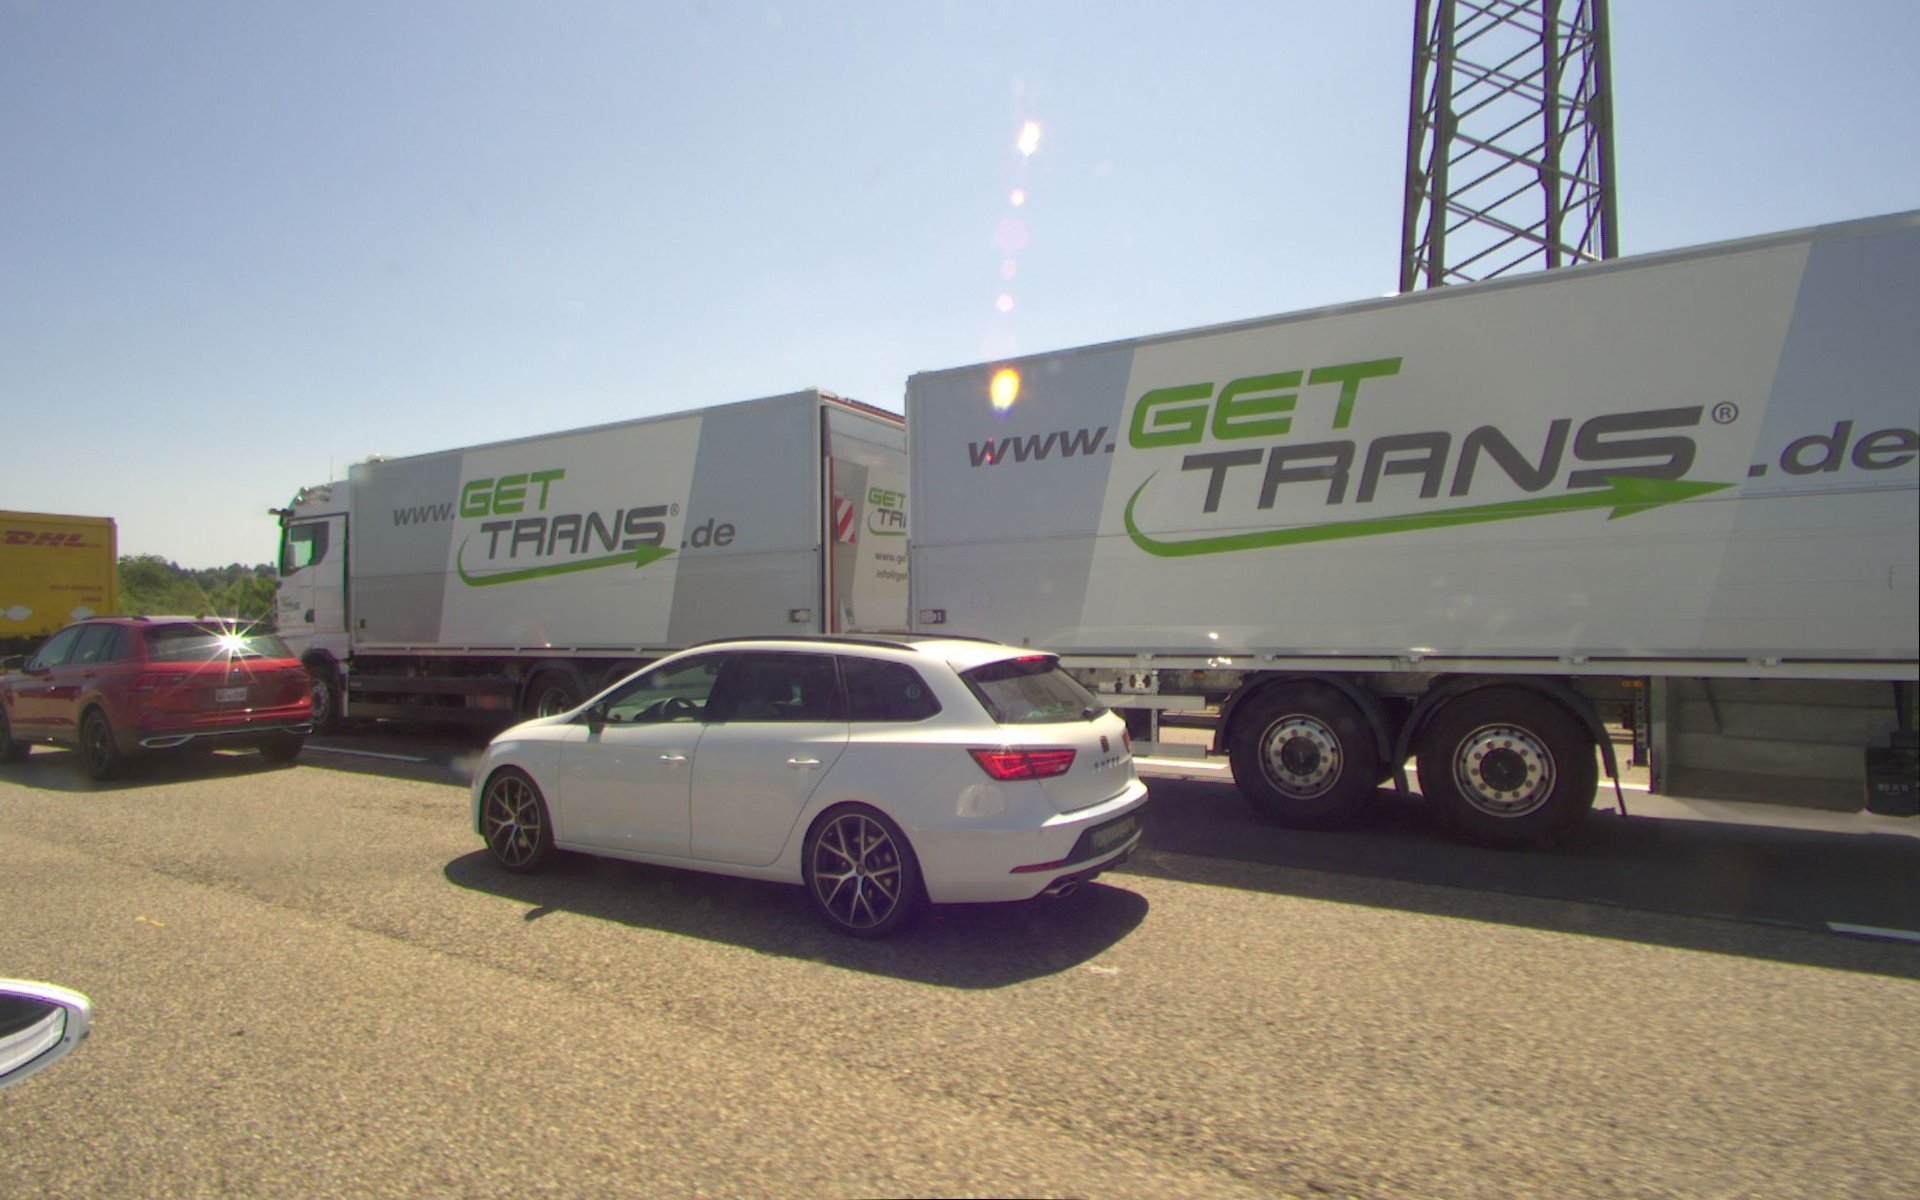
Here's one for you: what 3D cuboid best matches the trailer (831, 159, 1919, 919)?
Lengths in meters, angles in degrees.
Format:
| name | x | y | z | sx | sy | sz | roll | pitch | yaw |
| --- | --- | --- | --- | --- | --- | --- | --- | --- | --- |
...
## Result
| name | x | y | z | sx | sy | sz | roll | pitch | yaw |
| --- | --- | --- | --- | --- | --- | --- | --- | --- | --- |
| trailer | 3.035 | -0.208 | 8.080 | 8.096 | 3.941 | 2.894 | -1 | -2 | 31 |

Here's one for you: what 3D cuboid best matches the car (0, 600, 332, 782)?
| name | x | y | z | sx | sy | sz | roll | pitch | yaw |
| --- | --- | --- | --- | --- | --- | --- | --- | --- | --- |
| car | -9.022 | 0.926 | 11.174 | 4.222 | 1.700 | 1.706 | -2 | -2 | 31 |

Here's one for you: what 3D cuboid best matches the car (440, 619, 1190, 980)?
| name | x | y | z | sx | sy | sz | roll | pitch | yaw |
| --- | --- | --- | --- | --- | --- | --- | --- | --- | --- |
| car | -1.015 | 0.863 | 5.985 | 4.364 | 1.470 | 1.706 | 0 | -2 | 31 |

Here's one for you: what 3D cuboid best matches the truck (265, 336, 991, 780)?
| name | x | y | z | sx | sy | sz | roll | pitch | yaw |
| --- | --- | --- | --- | --- | --- | --- | --- | --- | --- |
| truck | -4.838 | -0.219 | 12.937 | 10.456 | 3.984 | 2.848 | -1 | -2 | 32 |

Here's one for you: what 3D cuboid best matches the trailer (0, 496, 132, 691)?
| name | x | y | z | sx | sy | sz | roll | pitch | yaw |
| --- | --- | --- | --- | --- | --- | --- | --- | --- | --- |
| trailer | -23.679 | -0.017 | 24.309 | 8.848 | 4.140 | 2.679 | -1 | -2 | 31 |
